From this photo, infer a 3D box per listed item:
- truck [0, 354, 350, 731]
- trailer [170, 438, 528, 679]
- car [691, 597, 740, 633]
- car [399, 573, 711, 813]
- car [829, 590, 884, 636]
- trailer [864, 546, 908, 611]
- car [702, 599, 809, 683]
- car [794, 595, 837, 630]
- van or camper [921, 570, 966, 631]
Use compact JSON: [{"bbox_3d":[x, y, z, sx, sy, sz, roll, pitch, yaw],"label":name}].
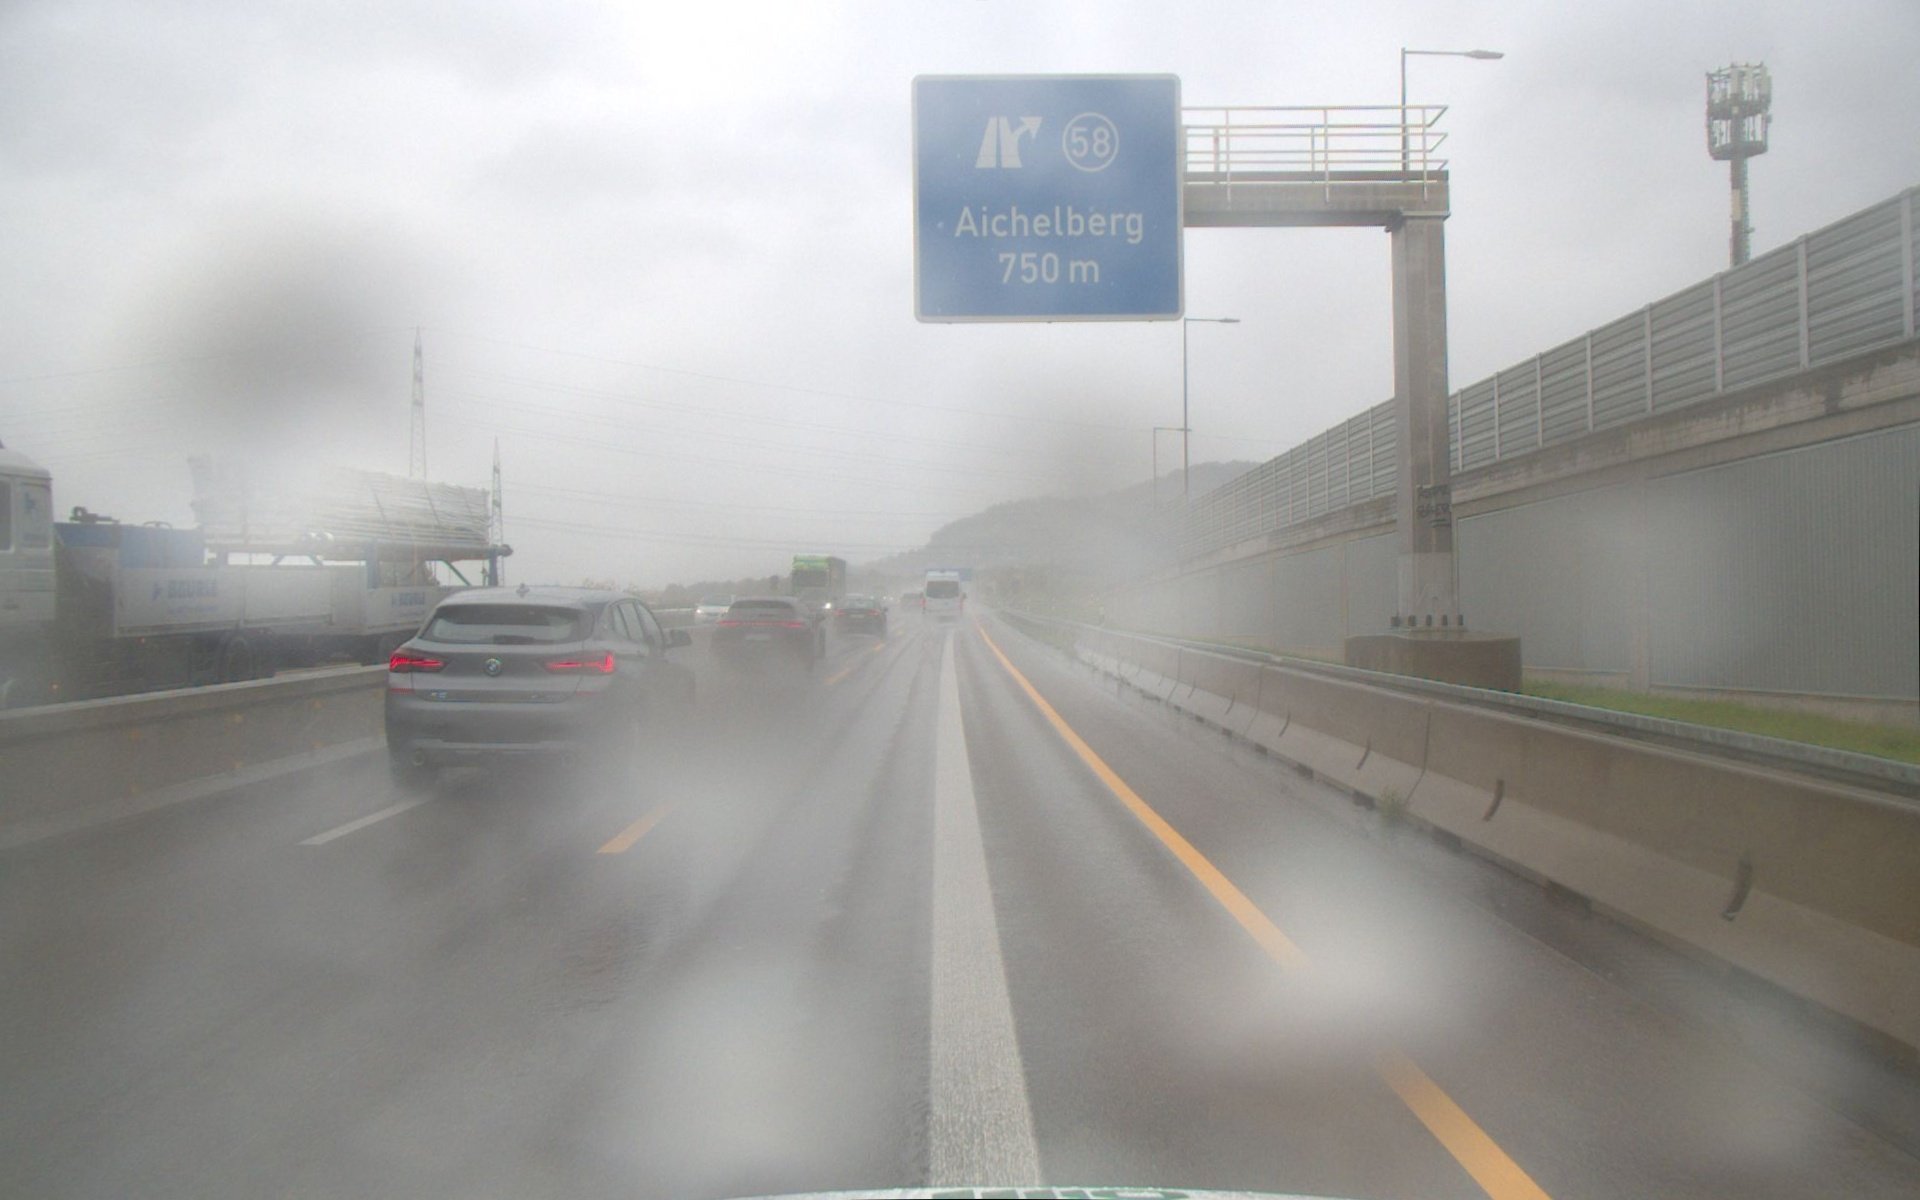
[{"bbox_3d":[-9.995,-0.550,18.855,2.585,3.406,9.551,1,0,0],"label":"truck"},{"bbox_3d":[-10.022,-0.615,28.544,2.607,3.421,9.713,1,0,0],"label":"trailer"},{"bbox_3d":[-10.270,0.610,69.635,1.537,1.461,3.892,0,0,-1],"label":"car"},{"bbox_3d":[-3.111,0.684,13.667,1.667,1.626,4.841,0,-1,-4],"label":"car"},{"bbox_3d":[-3.665,0.435,58.501,1.808,1.517,4.258,-2,0,-4],"label":"car"},{"bbox_3d":[-5.349,-1.503,121.106,2.528,4.535,13.552,0,0,0],"label":"trailer"},{"bbox_3d":[-3.902,0.797,32.157,1.808,1.517,4.258,0,-1,-4],"label":"car"},{"bbox_3d":[-7.317,0.597,83.993,1.859,1.716,4.740,0,0,-1],"label":"car"},{"bbox_3d":[-0.840,0.060,80.223,1.957,2.826,4.046,0,-1,-4],"label":"van or camper"}]
